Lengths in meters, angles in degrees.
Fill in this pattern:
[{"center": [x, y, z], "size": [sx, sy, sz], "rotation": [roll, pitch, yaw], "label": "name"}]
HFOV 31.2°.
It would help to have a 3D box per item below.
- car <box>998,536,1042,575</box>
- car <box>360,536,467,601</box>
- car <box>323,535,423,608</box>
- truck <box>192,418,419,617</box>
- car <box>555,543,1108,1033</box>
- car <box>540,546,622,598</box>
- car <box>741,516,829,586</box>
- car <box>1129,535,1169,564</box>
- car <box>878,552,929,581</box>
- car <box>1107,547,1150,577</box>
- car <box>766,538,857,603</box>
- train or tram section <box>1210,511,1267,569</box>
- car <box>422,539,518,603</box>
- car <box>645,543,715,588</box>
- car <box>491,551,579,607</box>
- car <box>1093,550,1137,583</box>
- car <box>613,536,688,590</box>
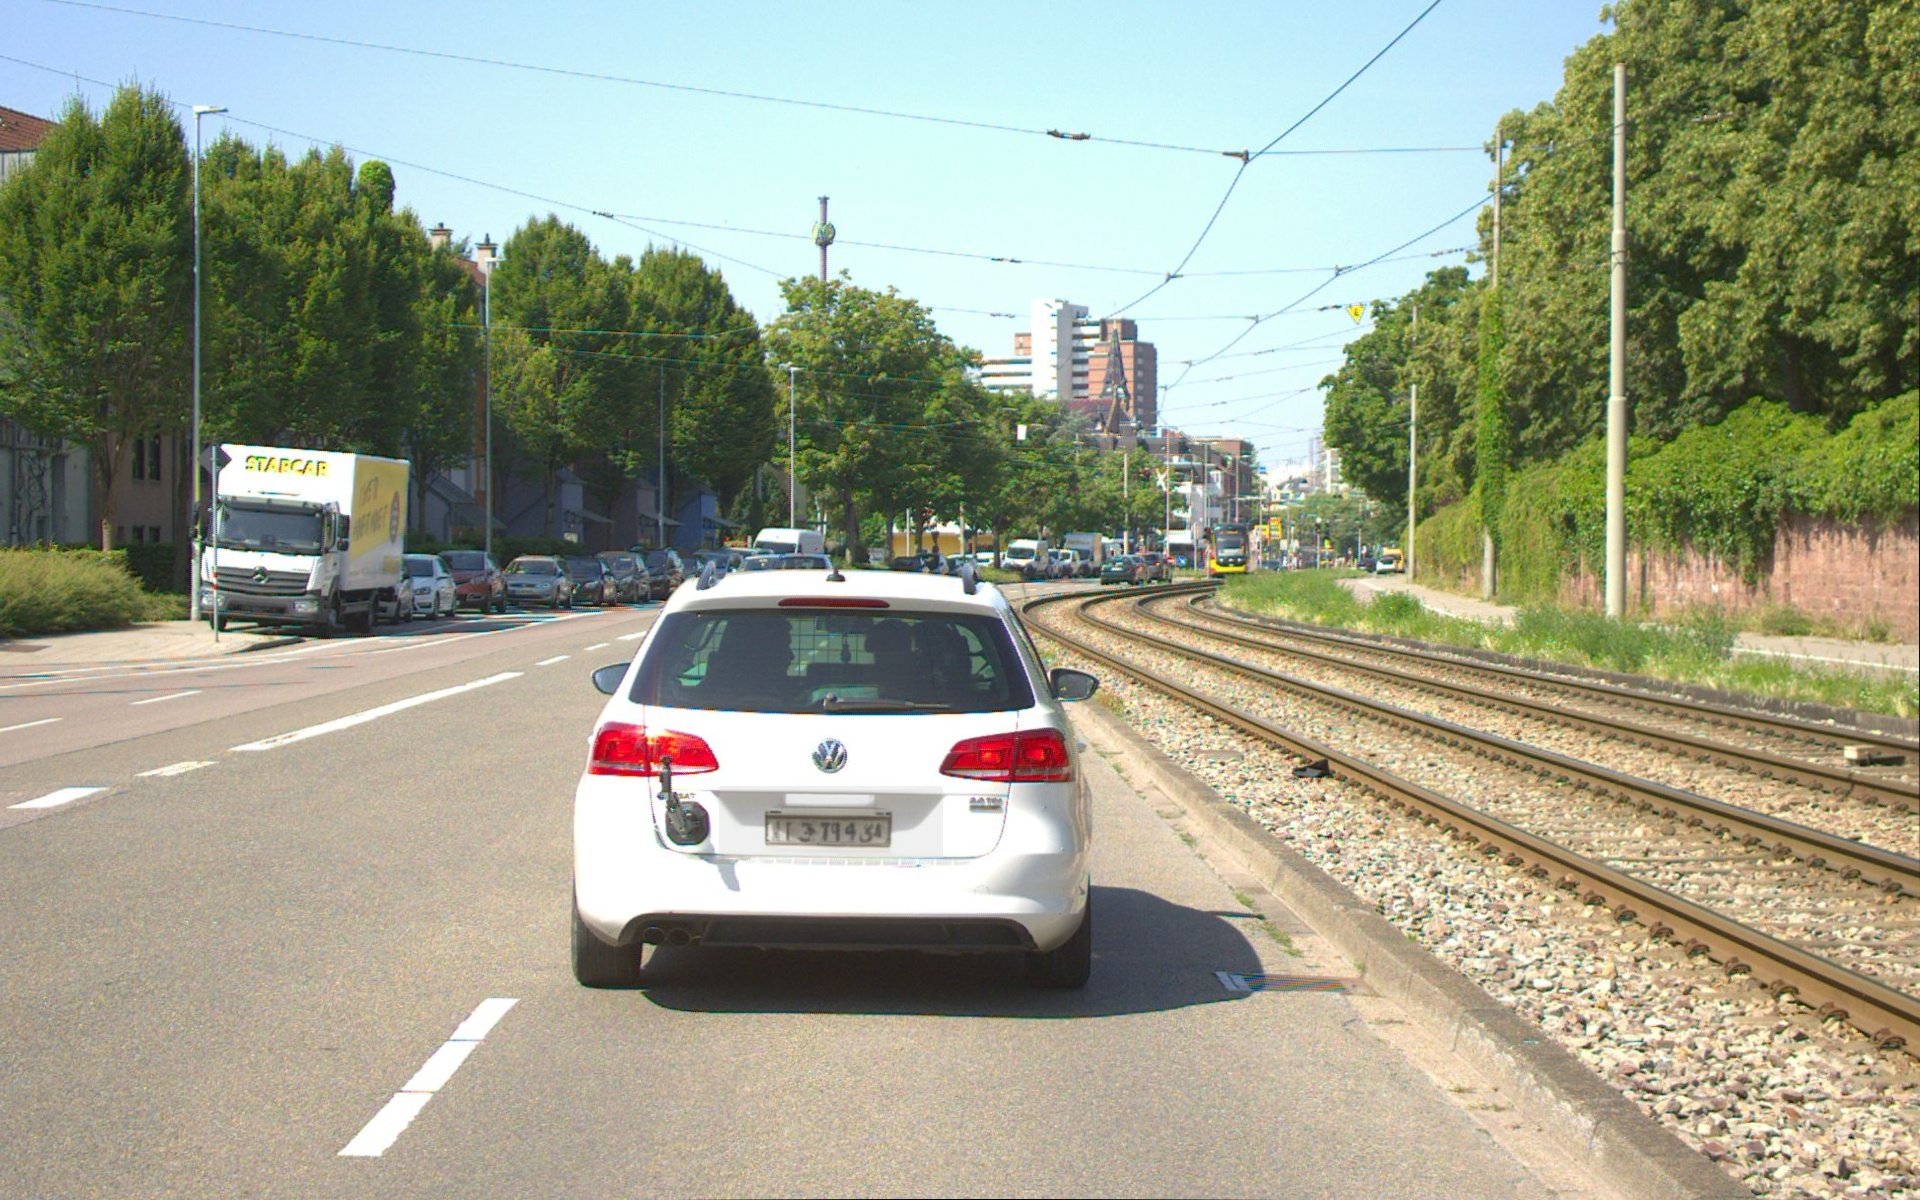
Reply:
[{"center": [3.802, -2.785, 216.883], "size": [1.881, 2.407, 5.113], "rotation": [0, 1, 11], "label": "car"}, {"center": [-12.566, -0.742, 79.283], "size": [1.757, 1.424, 4.282], "rotation": [2, 1, 0], "label": "car"}, {"center": [-12.624, -0.632, 74.077], "size": [1.609, 1.478, 3.636], "rotation": [2, 1, -2], "label": "car"}, {"center": [-12.553, -1.574, 66.689], "size": [2.667, 3.518, 8.591], "rotation": [2, 1, 0], "label": "truck"}, {"center": [-0.472, 0.553, 12.944], "size": [1.691, 1.446, 4.459], "rotation": [1, 2, -2], "label": "car"}, {"center": [-11.466, -0.869, 104.279], "size": [1.723, 1.469, 4.715], "rotation": [2, 1, 3], "label": "car"}, {"center": [-7.095, -1.981, 140.212], "size": [1.995, 2.705, 7.154], "rotation": [3, 1, 9], "label": "car"}, {"center": [9.915, -2.649, 180.359], "size": [1.801, 1.455, 3.999], "rotation": [0, 1, 7], "label": "car"}, {"center": [-2.791, -1.660, 170.219], "size": [1.700, 1.412, 3.998], "rotation": [0, 1, 11], "label": "car"}, {"center": [8.513, -1.934, 173.160], "size": [1.801, 1.455, 3.999], "rotation": [1, 1, 7], "label": "car"}, {"center": [-3.671, -0.750, 85.557], "size": [1.801, 1.502, 4.000], "rotation": [1, 2, 4], "label": "car"}, {"center": [18.408, -3.942, 226.447], "size": [2.512, 3.734, 13.305], "rotation": [0, 1, 10], "label": "train or tram section"}, {"center": [-12.366, -0.749, 86.981], "size": [1.731, 1.546, 4.318], "rotation": [1, 1, 1], "label": "car"}, {"center": [-9.864, -1.235, 121.208], "size": [1.690, 1.469, 4.048], "rotation": [3, 1, 6], "label": "car"}, {"center": [-12.051, -0.602, 97.797], "size": [1.780, 1.478, 4.857], "rotation": [2, 0, 1], "label": "car"}, {"center": [7.529, -1.628, 166.687], "size": [1.801, 1.502, 3.999], "rotation": [1, 1, 7], "label": "car"}, {"center": [-10.399, -1.243, 115.751], "size": [1.769, 1.717, 4.869], "rotation": [2, 1, 3], "label": "car"}]
